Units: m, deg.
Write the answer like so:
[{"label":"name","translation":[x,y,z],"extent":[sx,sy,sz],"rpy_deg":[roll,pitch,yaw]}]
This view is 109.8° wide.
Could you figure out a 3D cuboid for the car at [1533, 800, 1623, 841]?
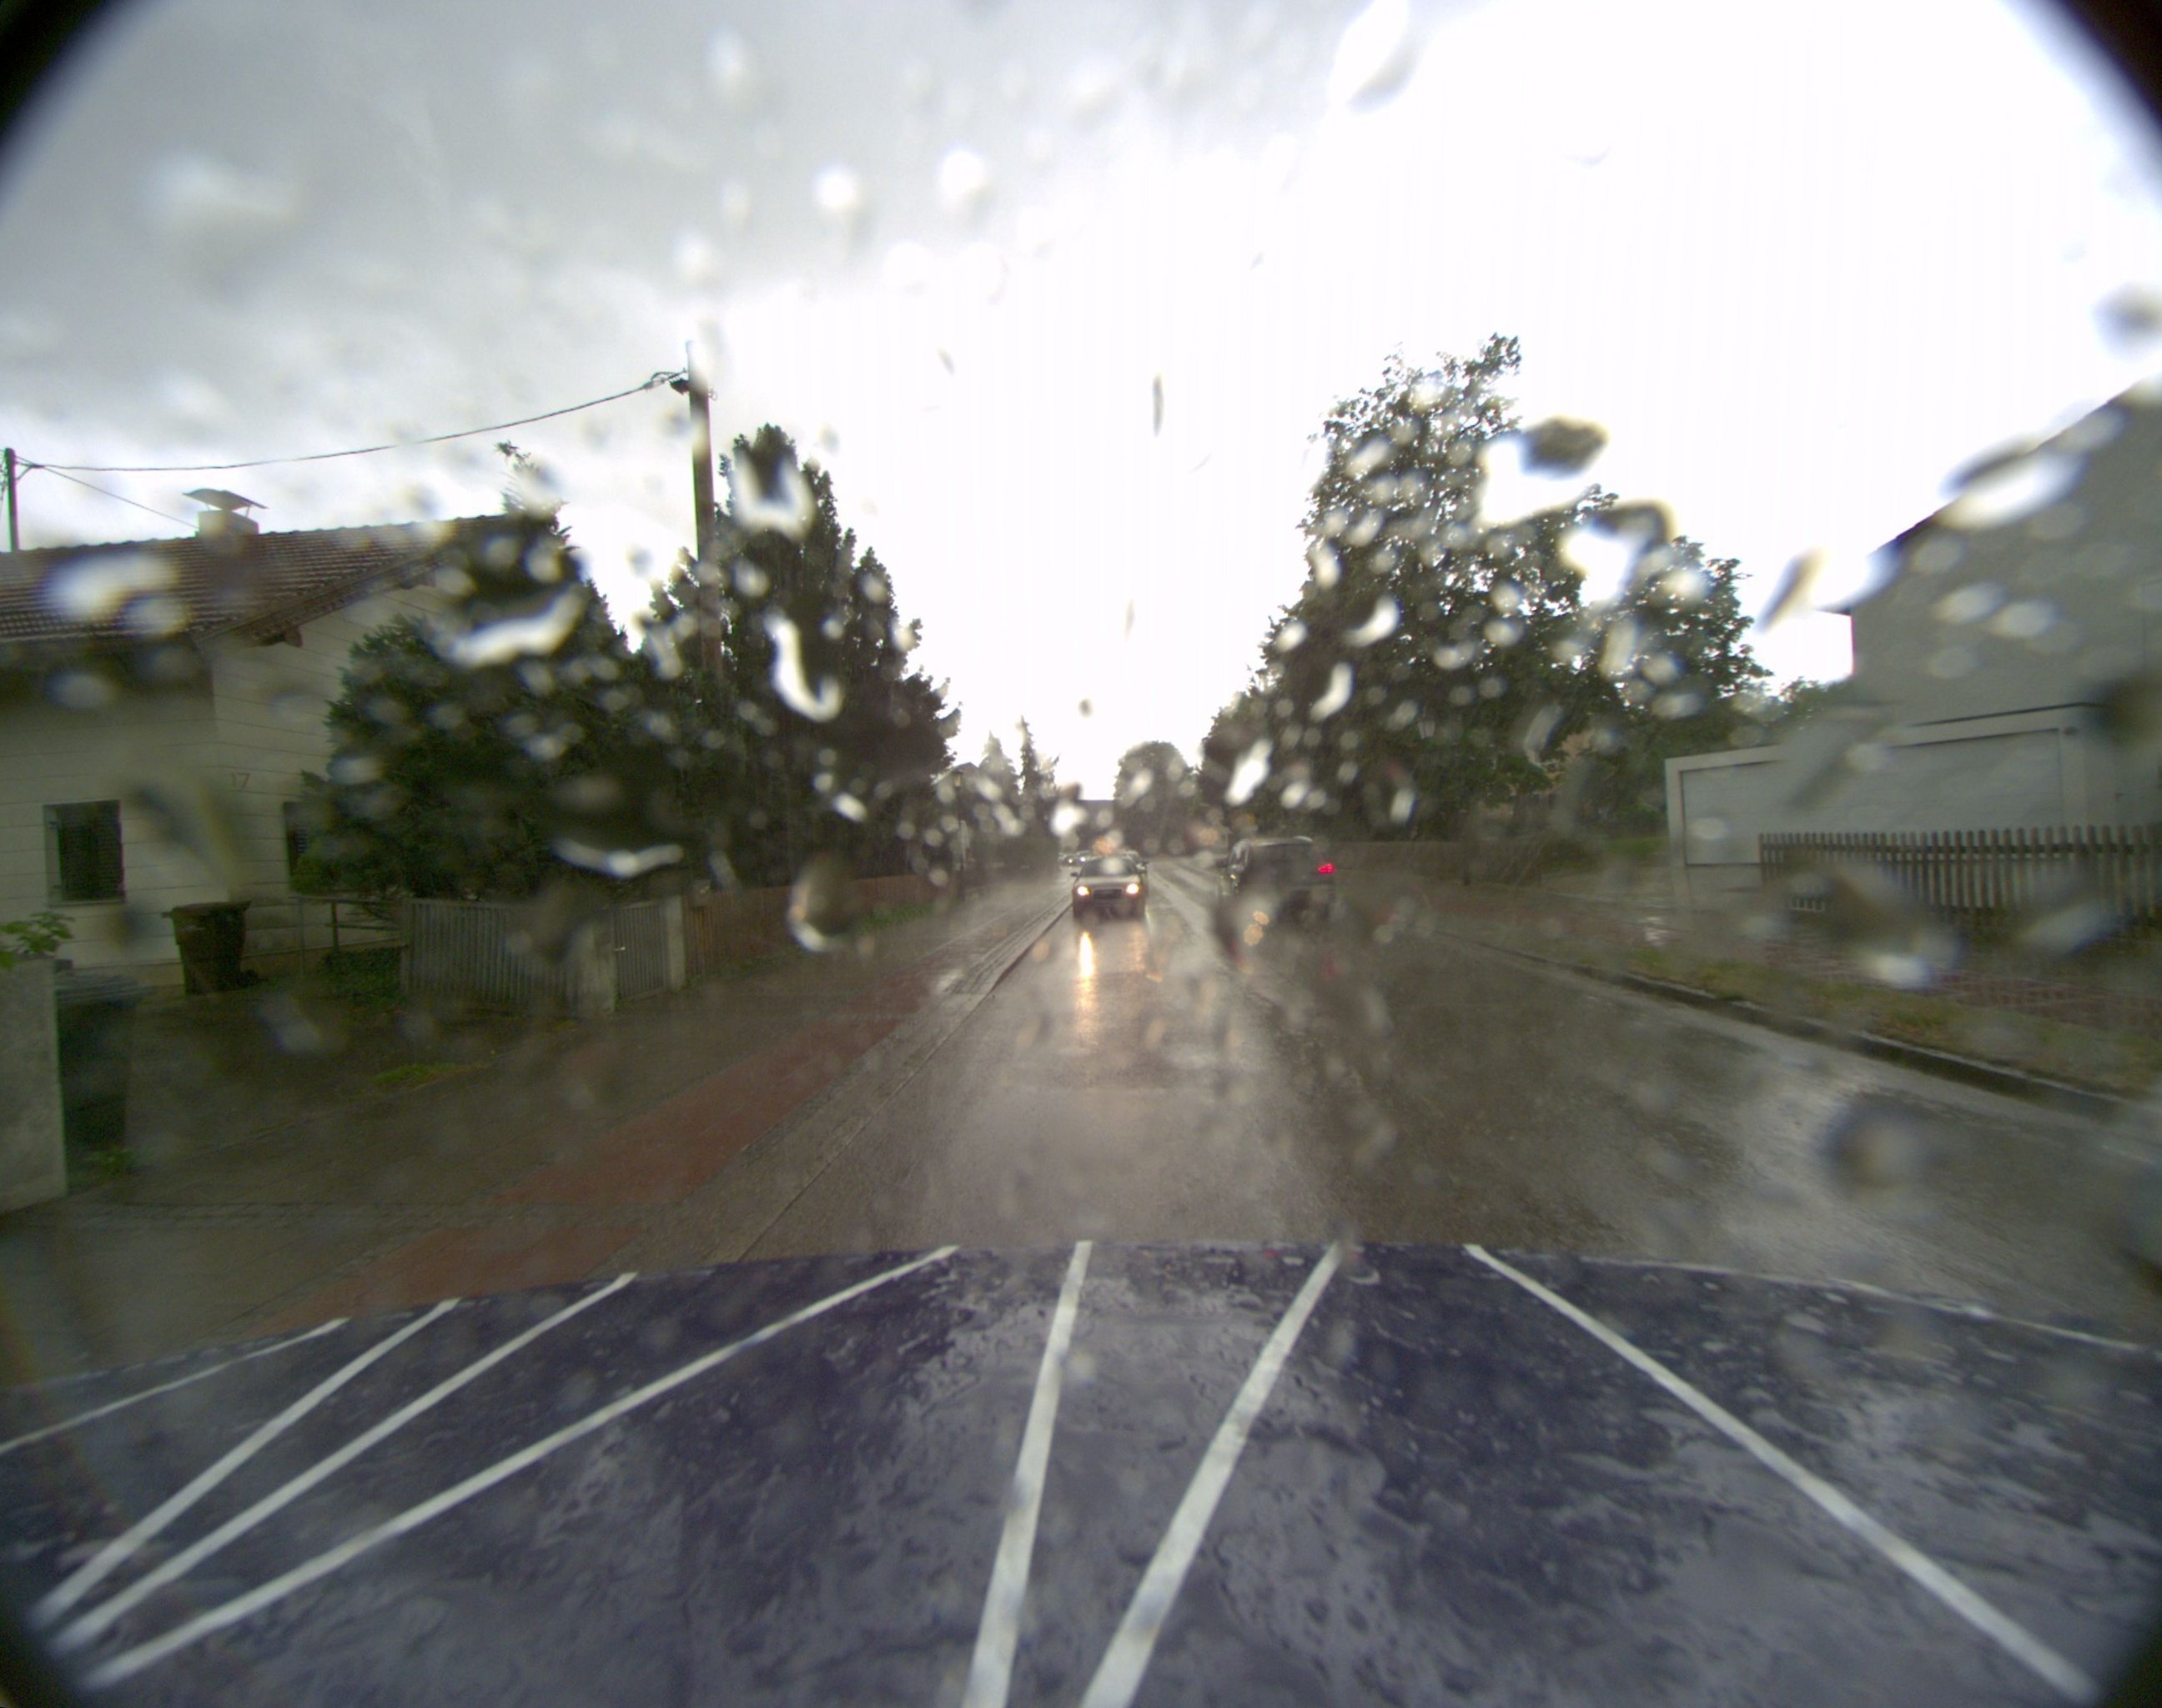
[{"label":"car","translation":[27.647,-1.841,42.395],"extent":[1.844,1.792,3.649],"rpy_deg":[-6,0,-31]}]

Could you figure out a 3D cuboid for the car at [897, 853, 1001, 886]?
[{"label":"car","translation":[-5.891,0.678,34.353],"extent":[4.442,1.413,1.829],"rpy_deg":[0,1,-5]}]

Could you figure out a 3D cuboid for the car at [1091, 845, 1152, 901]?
[{"label":"car","translation":[1.455,0.602,27.448],"extent":[1.872,1.603,4.961],"rpy_deg":[-5,1,3]}]

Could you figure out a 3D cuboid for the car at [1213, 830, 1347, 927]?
[{"label":"car","translation":[4.019,0.425,16.082],"extent":[1.927,1.734,4.192],"rpy_deg":[-2,1,4]}]

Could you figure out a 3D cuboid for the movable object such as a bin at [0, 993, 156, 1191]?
[{"label":"movable object such as a bin","translation":[-5.517,1.262,4.122],"extent":[0.434,0.930,0.447],"rpy_deg":[0,1,4]}]

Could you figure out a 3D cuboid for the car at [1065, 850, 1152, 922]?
[{"label":"car","translation":[0.738,0.708,19.236],"extent":[1.872,1.512,4.188],"rpy_deg":[-3,1,3]}]

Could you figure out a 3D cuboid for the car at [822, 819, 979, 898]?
[{"label":"car","translation":[-6.426,0.136,27.675],"extent":[5.319,2.712,1.999],"rpy_deg":[0,1,-6]}]

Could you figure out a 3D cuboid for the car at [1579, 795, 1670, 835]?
[{"label":"car","translation":[30.869,-2.180,43.233],"extent":[1.844,1.792,3.649],"rpy_deg":[-6,0,-31]}]
